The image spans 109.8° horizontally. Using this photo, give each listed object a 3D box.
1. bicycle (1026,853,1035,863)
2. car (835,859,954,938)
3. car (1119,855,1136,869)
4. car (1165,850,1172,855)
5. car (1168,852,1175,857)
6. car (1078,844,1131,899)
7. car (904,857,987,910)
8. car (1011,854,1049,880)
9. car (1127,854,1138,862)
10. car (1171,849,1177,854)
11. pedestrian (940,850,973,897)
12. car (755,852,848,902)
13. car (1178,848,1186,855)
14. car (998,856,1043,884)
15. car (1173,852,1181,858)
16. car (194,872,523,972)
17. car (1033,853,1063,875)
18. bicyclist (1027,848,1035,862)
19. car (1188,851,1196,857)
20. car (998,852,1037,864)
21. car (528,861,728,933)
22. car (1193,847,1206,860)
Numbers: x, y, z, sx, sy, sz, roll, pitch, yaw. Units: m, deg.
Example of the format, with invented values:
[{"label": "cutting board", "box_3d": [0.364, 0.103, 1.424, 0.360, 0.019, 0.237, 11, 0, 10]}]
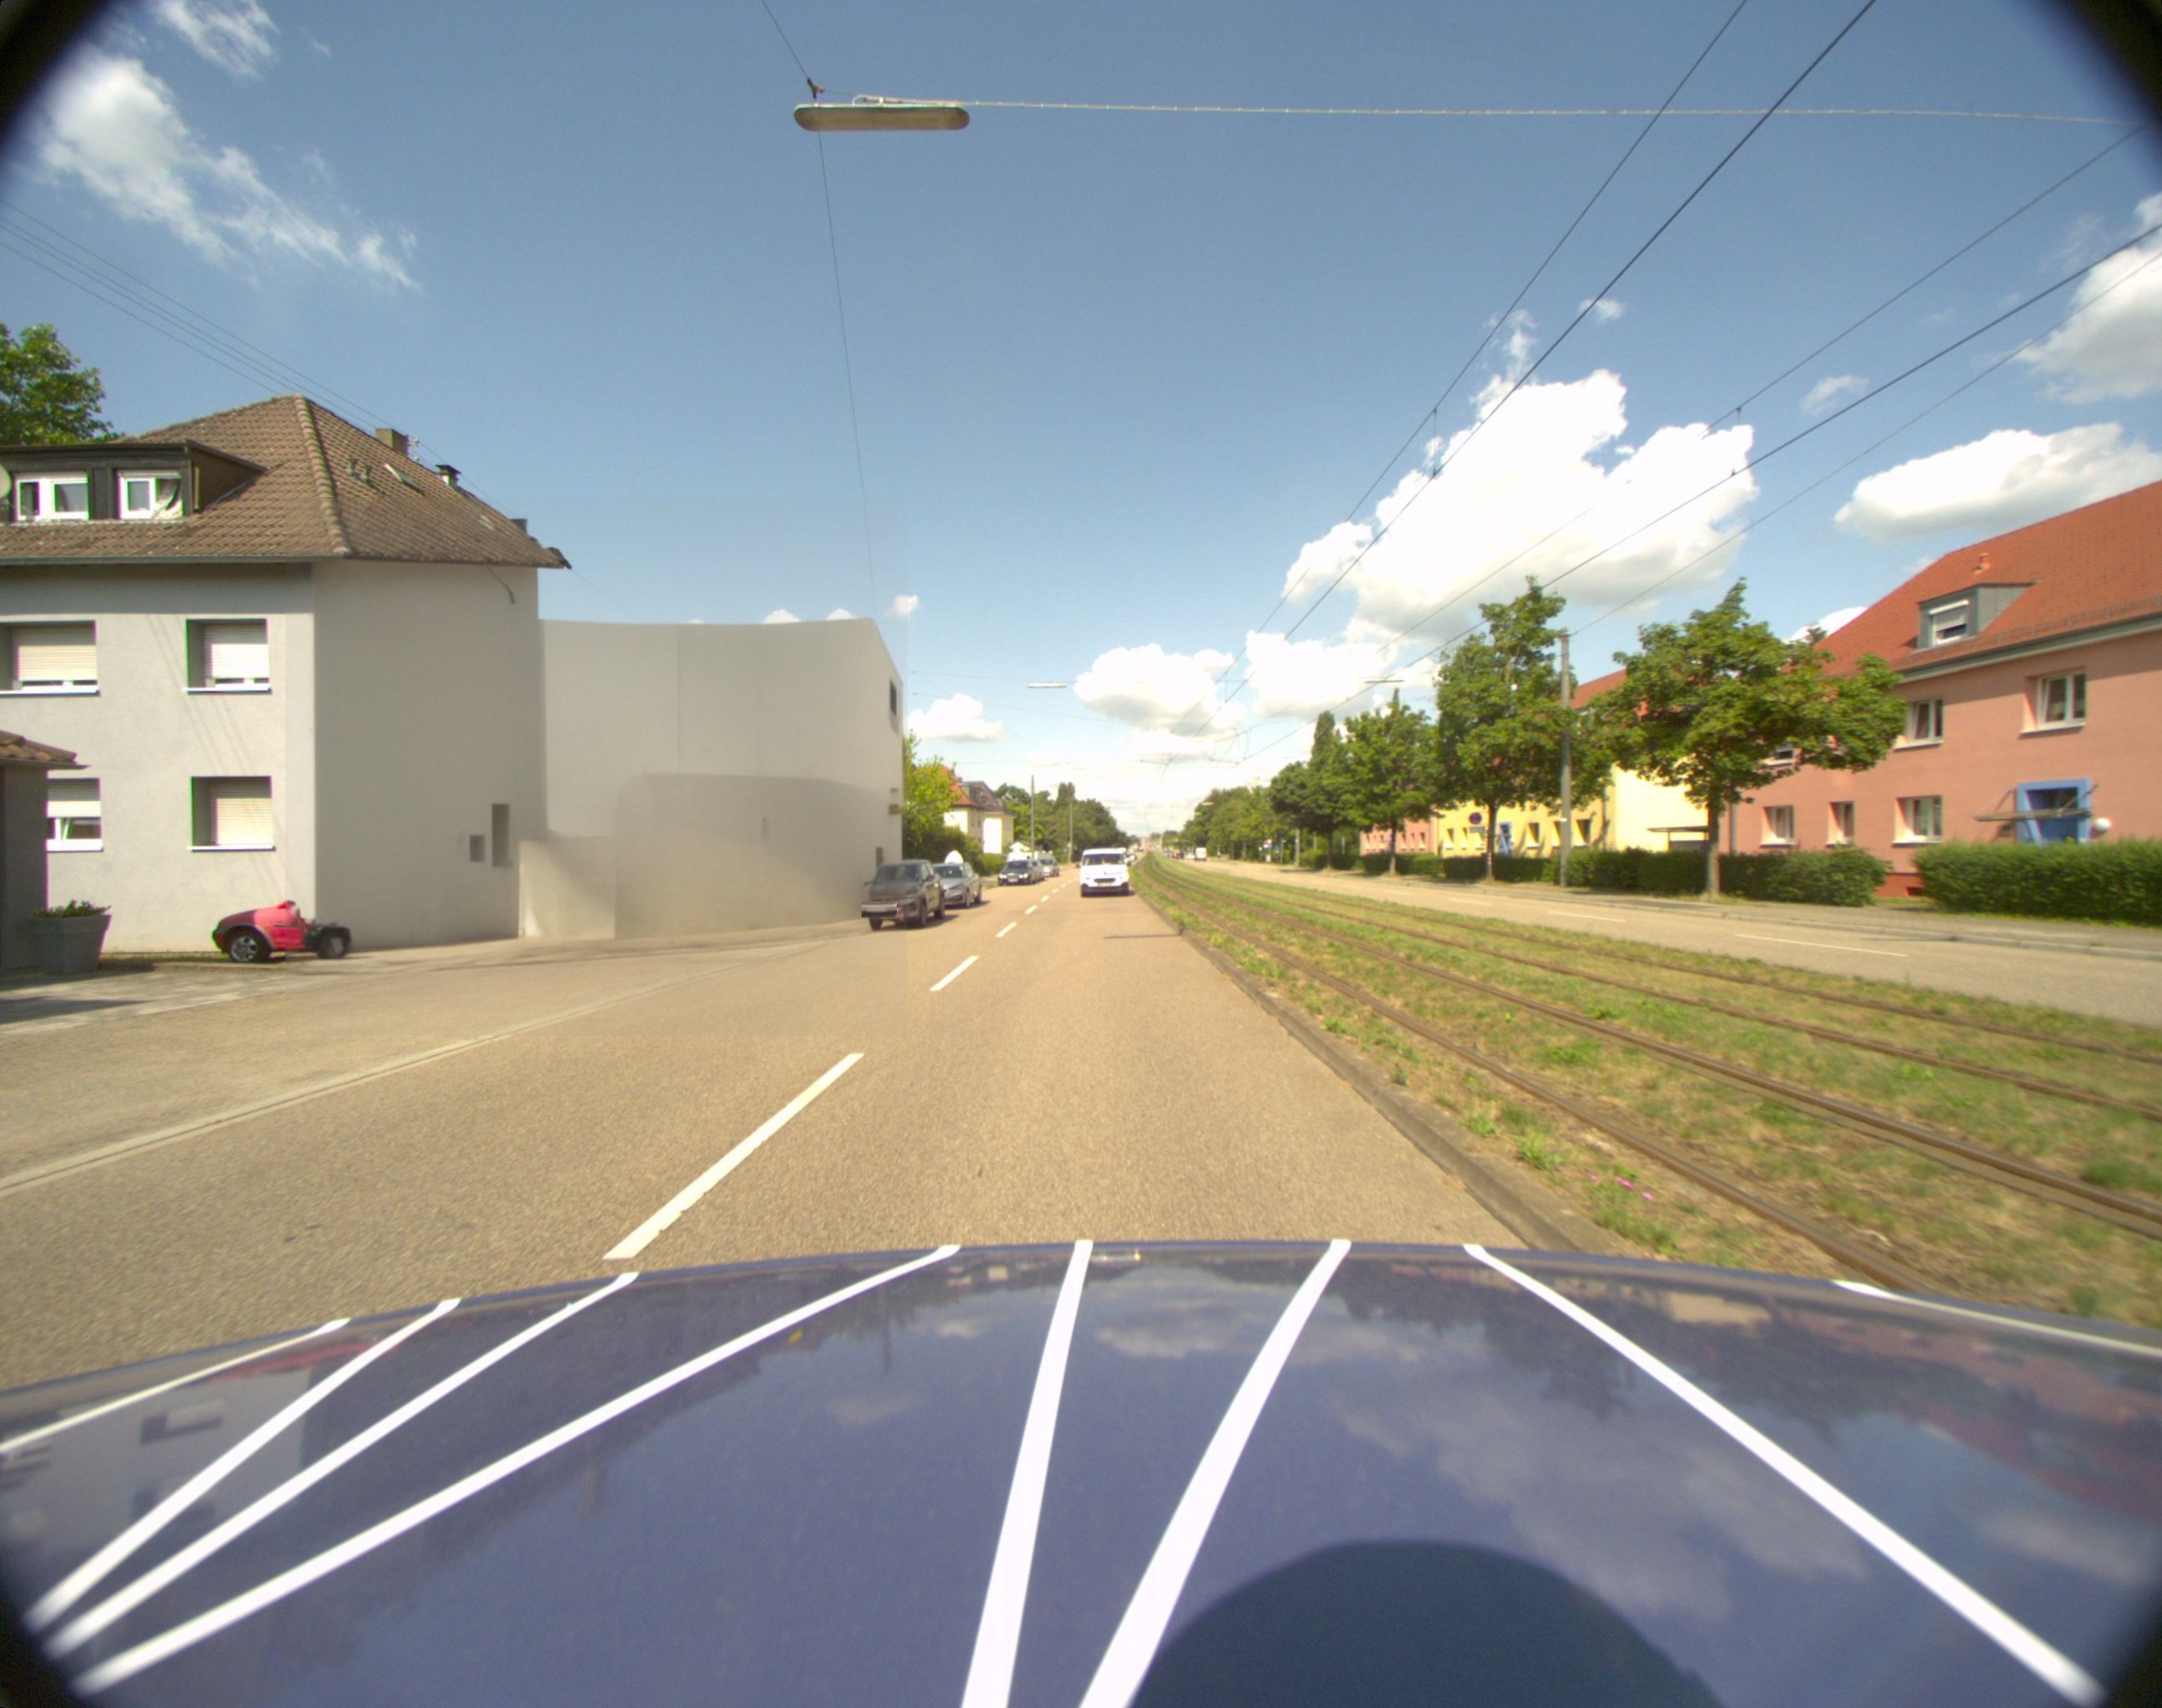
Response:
[{"label": "bicycle", "box_3d": [-4.978, 0.389, 75.283, 0.556, 1.059, 1.524, -1, 1, 11]}, {"label": "car", "box_3d": [-4.364, 0.971, 18.471, 1.812, 1.550, 4.252, -2, 1, 0]}, {"label": "car", "box_3d": [5.878, 0.964, 95.186, 1.998, 1.576, 4.001, -2, 1, 5]}, {"label": "car", "box_3d": [29.557, -0.412, 257.309, 2.120, 1.642, 4.278, -1, 0, 6]}, {"label": "car", "box_3d": [27.256, 0.103, 228.570, 2.120, 1.642, 4.278, -1, 0, 6]}, {"label": "car", "box_3d": [0.825, 0.603, 29.032, 1.777, 1.850, 4.374, -2, 0, -1]}, {"label": "car", "box_3d": [-4.325, 0.887, 24.915, 1.819, 1.446, 4.642, -2, 1, 0]}, {"label": "car", "box_3d": [-3.241, 0.815, 49.377, 1.894, 1.447, 5.006, -2, 1, 2]}, {"label": "car", "box_3d": [10.192, 0.795, 149.806, 1.998, 1.477, 4.000, -2, 1, 3]}, {"label": "car", "box_3d": [25.561, -0.676, 208.779, 1.731, 1.386, 4.278, -1, 0, 6]}, {"label": "pedestrian", "box_3d": [-5.285, 0.816, 32.281, 1.114, 1.935, 1.092, -1, 1, 4]}, {"label": "car", "box_3d": [-10.210, 0.782, 28.202, 1.761, 1.637, 4.768, 0, 1, -1]}, {"label": "car", "box_3d": [23.453, -0.570, 176.384, 1.689, 1.736, 4.229, -1, 0, 5]}, {"label": "car", "box_3d": [-3.446, 0.854, 43.943, 1.904, 1.435, 5.058, -2, 0, 3]}, {"label": "car", "box_3d": [24.983, 0.171, 198.156, 1.731, 1.570, 4.277, -1, 0, 4]}, {"label": "car", "box_3d": [-11.677, 1.062, 12.481, 3.658, 1.372, 1.726, -1, 1, -1]}, {"label": "car", "box_3d": [-2.505, 0.749, 58.689, 1.741, 1.481, 4.095, -2, 1, 5]}, {"label": "bicyclist", "box_3d": [-4.970, 0.068, 75.311, 0.689, 1.345, 0.665, -1, 1, 11]}, {"label": "car", "box_3d": [26.517, 0.074, 181.755, 1.689, 1.422, 4.278, -1, 0, 5]}, {"label": "car", "box_3d": [-7.673, 0.478, 91.543, 4.458, 1.452, 1.764, 1, 1, 5]}, {"label": "car", "box_3d": [-10.551, 0.923, 18.244, 1.803, 1.415, 4.857, 0, 1, 1]}, {"label": "car", "box_3d": [23.203, -0.064, 148.599, 2.036, 2.422, 5.779, 1, 1, 5]}]
